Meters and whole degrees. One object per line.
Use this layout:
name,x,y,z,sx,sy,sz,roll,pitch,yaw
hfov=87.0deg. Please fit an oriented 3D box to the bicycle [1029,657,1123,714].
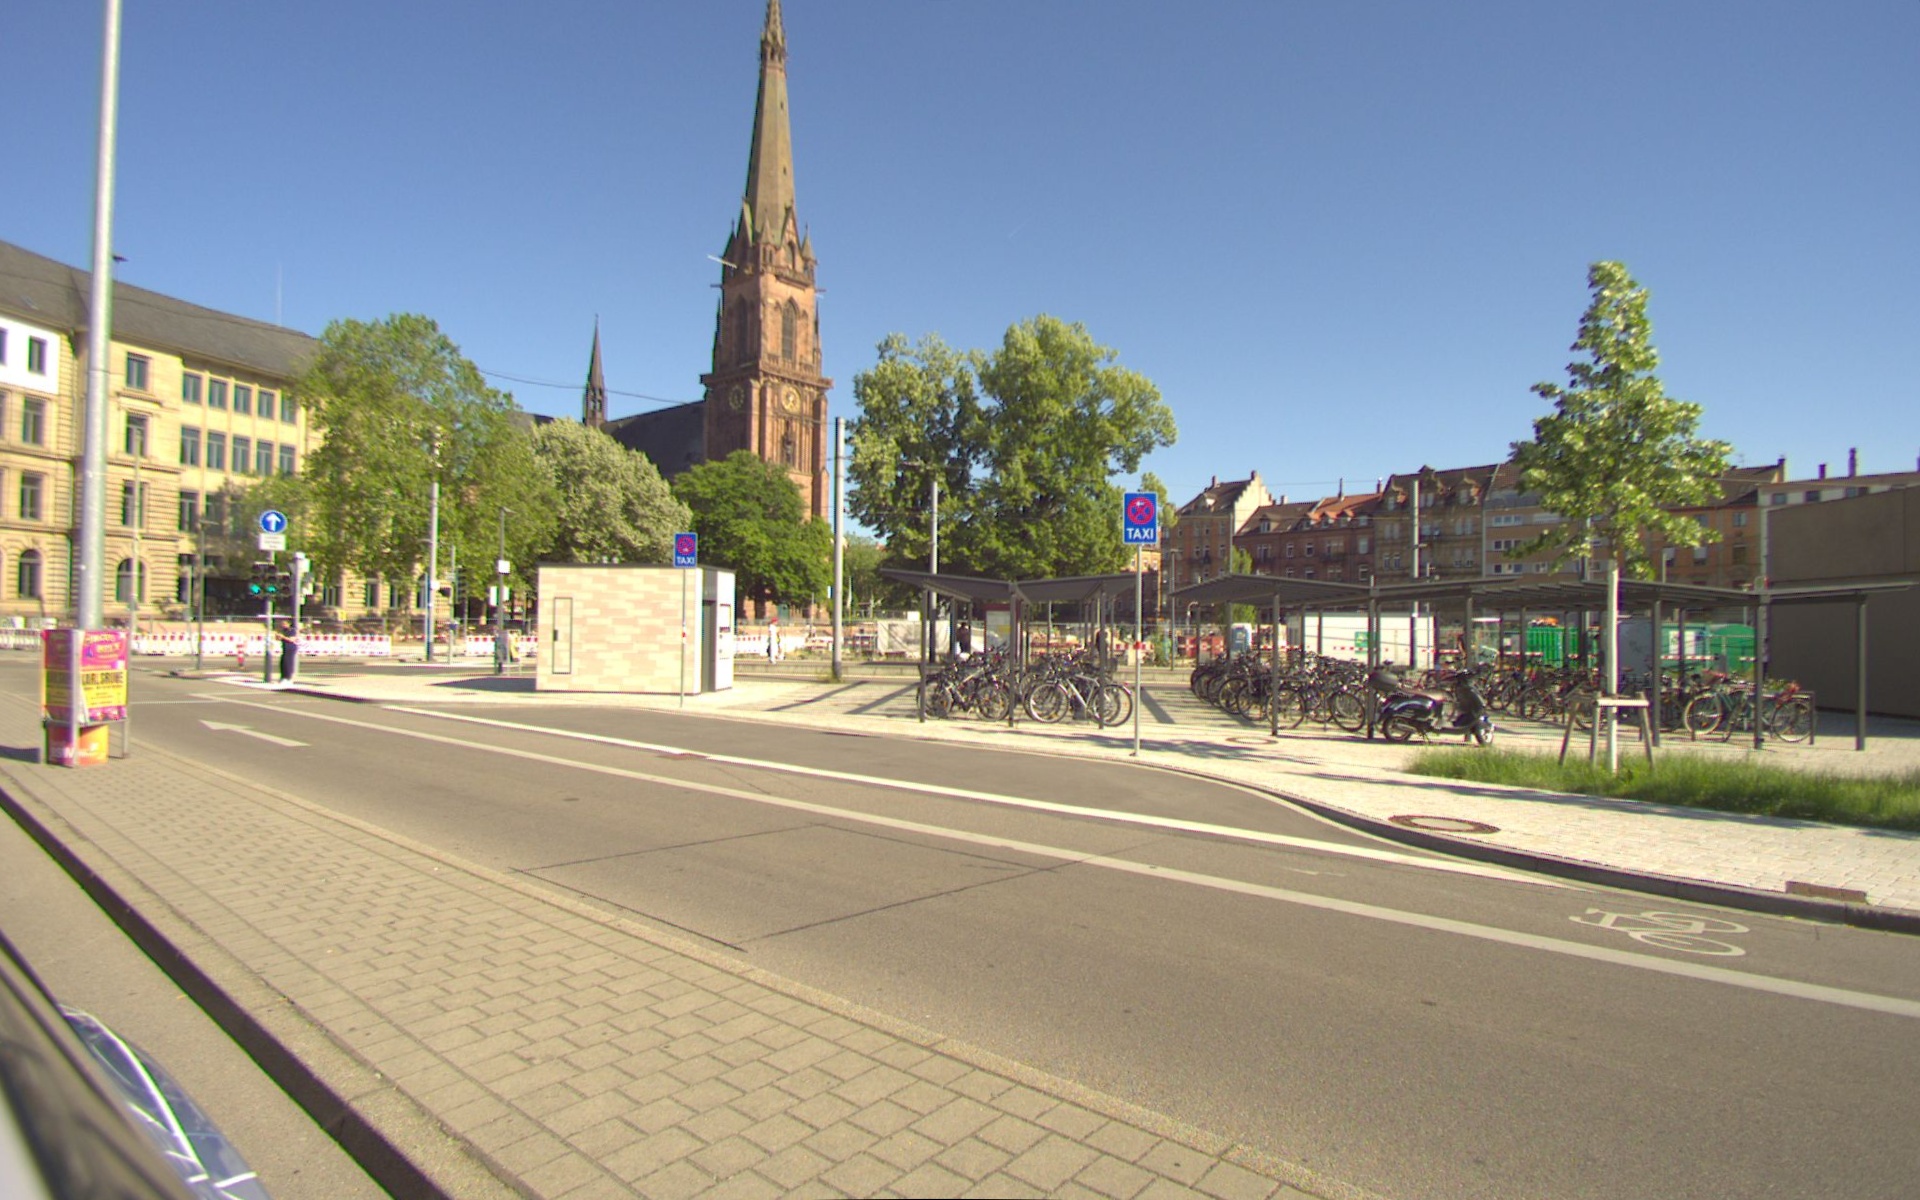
bicycle,2.256,1.656,19.778,1.765,1.046,0.567,1,-3,4

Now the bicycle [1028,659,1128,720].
bicycle,2.143,1.624,18.570,1.765,1.046,0.567,1,-3,4

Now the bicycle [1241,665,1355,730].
bicycle,5.843,1.677,17.551,1.765,1.046,0.567,1,-3,4

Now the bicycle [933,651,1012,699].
bicycle,0.295,1.722,23.260,1.765,1.046,0.567,1,-3,4

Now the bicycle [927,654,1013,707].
bicycle,0.219,1.687,21.397,1.765,1.046,0.567,1,-3,4

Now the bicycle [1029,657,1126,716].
bicycle,2.207,1.637,19.179,1.765,1.046,0.567,1,-3,4

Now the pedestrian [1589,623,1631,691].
pedestrian,16.799,1.461,26.167,0.673,1.736,0.617,0,-2,3

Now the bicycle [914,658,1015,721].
bicycle,0.094,1.582,18.091,1.765,1.046,0.567,1,-3,4

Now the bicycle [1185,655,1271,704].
bicycle,6.022,1.779,22.775,1.765,1.046,0.567,1,-3,4

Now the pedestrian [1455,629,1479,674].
pedestrian,17.731,1.803,35.431,0.581,1.530,0.559,1,-2,6

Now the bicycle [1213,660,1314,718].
bicycle,5.811,1.694,19.426,1.765,1.046,0.567,1,-3,4

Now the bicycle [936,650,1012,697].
bicycle,0.340,1.732,23.851,1.765,1.046,0.567,1,-3,4

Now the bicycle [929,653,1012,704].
bicycle,0.240,1.701,22.062,1.765,1.046,0.567,1,-3,4

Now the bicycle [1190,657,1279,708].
bicycle,5.928,1.773,21.905,1.765,1.046,0.567,1,-3,4

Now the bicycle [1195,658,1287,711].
bicycle,5.909,1.770,21.310,1.765,1.046,0.567,1,-3,4

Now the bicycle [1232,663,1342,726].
bicycle,5.843,1.678,18.136,1.765,1.046,0.567,1,-3,4

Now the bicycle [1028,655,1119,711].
bicycle,2.274,1.661,20.393,1.765,1.046,0.567,1,-3,4

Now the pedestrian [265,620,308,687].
pedestrian,-17.578,1.388,26.415,0.648,1.693,0.779,-1,0,42

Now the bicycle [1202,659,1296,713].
bicycle,5.903,1.750,20.712,1.765,1.046,0.567,1,-3,4

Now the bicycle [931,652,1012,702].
bicycle,0.262,1.711,22.658,1.765,1.046,0.567,1,-3,4

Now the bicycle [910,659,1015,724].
bicycle,0.057,1.568,17.440,1.765,1.046,0.567,1,-3,4

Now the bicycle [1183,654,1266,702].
bicycle,6.131,1.796,23.499,1.765,1.046,0.567,1,-3,4

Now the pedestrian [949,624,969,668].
pedestrian,-0.040,1.765,39.107,0.518,1.667,0.559,-1,0,41

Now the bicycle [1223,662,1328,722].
bicycle,5.845,1.695,18.795,1.765,1.046,0.567,1,-3,4

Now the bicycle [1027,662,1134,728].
bicycle,2.045,1.609,17.279,1.765,1.046,0.567,1,-3,4

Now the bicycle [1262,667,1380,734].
bicycle,6.027,1.676,16.953,1.765,1.046,0.567,1,-3,4

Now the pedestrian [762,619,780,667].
pedestrian,-7.133,1.623,38.125,0.529,1.736,0.684,0,-6,-19

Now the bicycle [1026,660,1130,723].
bicycle,2.075,1.607,17.929,1.765,1.046,0.567,1,-3,4

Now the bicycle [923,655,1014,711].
bicycle,0.184,1.641,20.165,1.765,1.046,0.567,1,-3,4

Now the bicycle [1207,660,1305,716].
bicycle,5.863,1.732,20.097,1.765,1.046,0.567,1,-3,4

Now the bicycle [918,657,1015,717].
bicycle,0.129,1.605,18.846,1.765,1.046,0.567,1,-3,4

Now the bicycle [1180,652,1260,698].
bicycle,6.230,1.795,24.265,1.765,1.046,0.567,1,-3,4

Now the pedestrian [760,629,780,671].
pedestrian,-8.049,2.132,42.851,0.673,1.736,0.537,-3,-6,6

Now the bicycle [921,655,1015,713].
bicycle,0.166,1.618,19.534,1.765,1.046,0.567,1,-3,4
